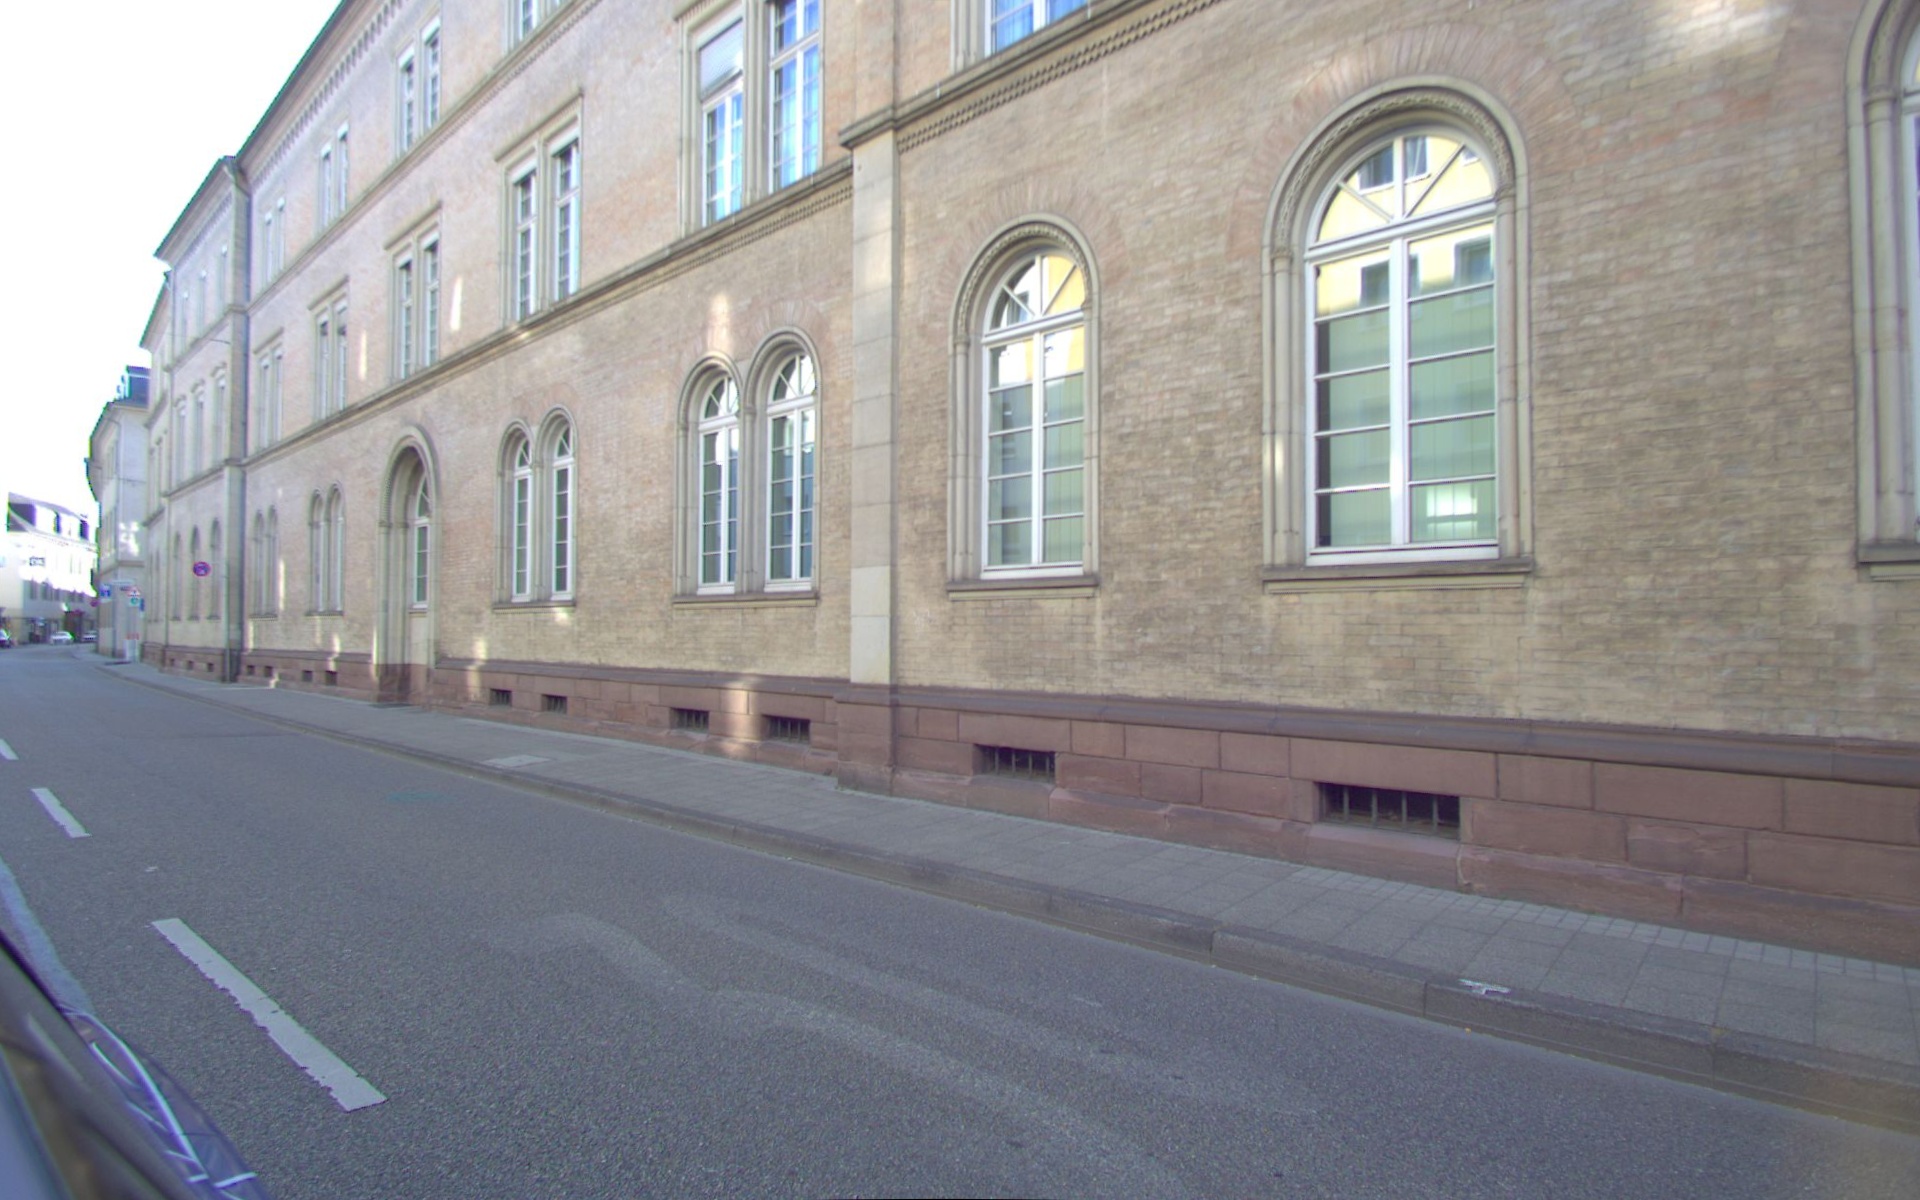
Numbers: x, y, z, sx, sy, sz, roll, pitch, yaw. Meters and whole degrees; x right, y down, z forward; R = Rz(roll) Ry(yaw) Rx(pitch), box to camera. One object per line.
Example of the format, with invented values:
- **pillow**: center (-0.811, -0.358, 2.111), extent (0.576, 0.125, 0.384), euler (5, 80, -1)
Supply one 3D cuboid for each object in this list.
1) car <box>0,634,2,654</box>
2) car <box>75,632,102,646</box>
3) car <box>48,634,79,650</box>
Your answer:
- **car**: center (-86.616, 3.957, 89.944), extent (1.969, 1.665, 4.235), euler (-1, 0, -41)
- **car**: center (-109.232, 4.850, 126.821), extent (1.966, 1.665, 4.240), euler (-1, 0, -33)
- **car**: center (-102.859, 4.765, 116.168), extent (1.966, 1.665, 4.240), euler (-1, 0, -33)
